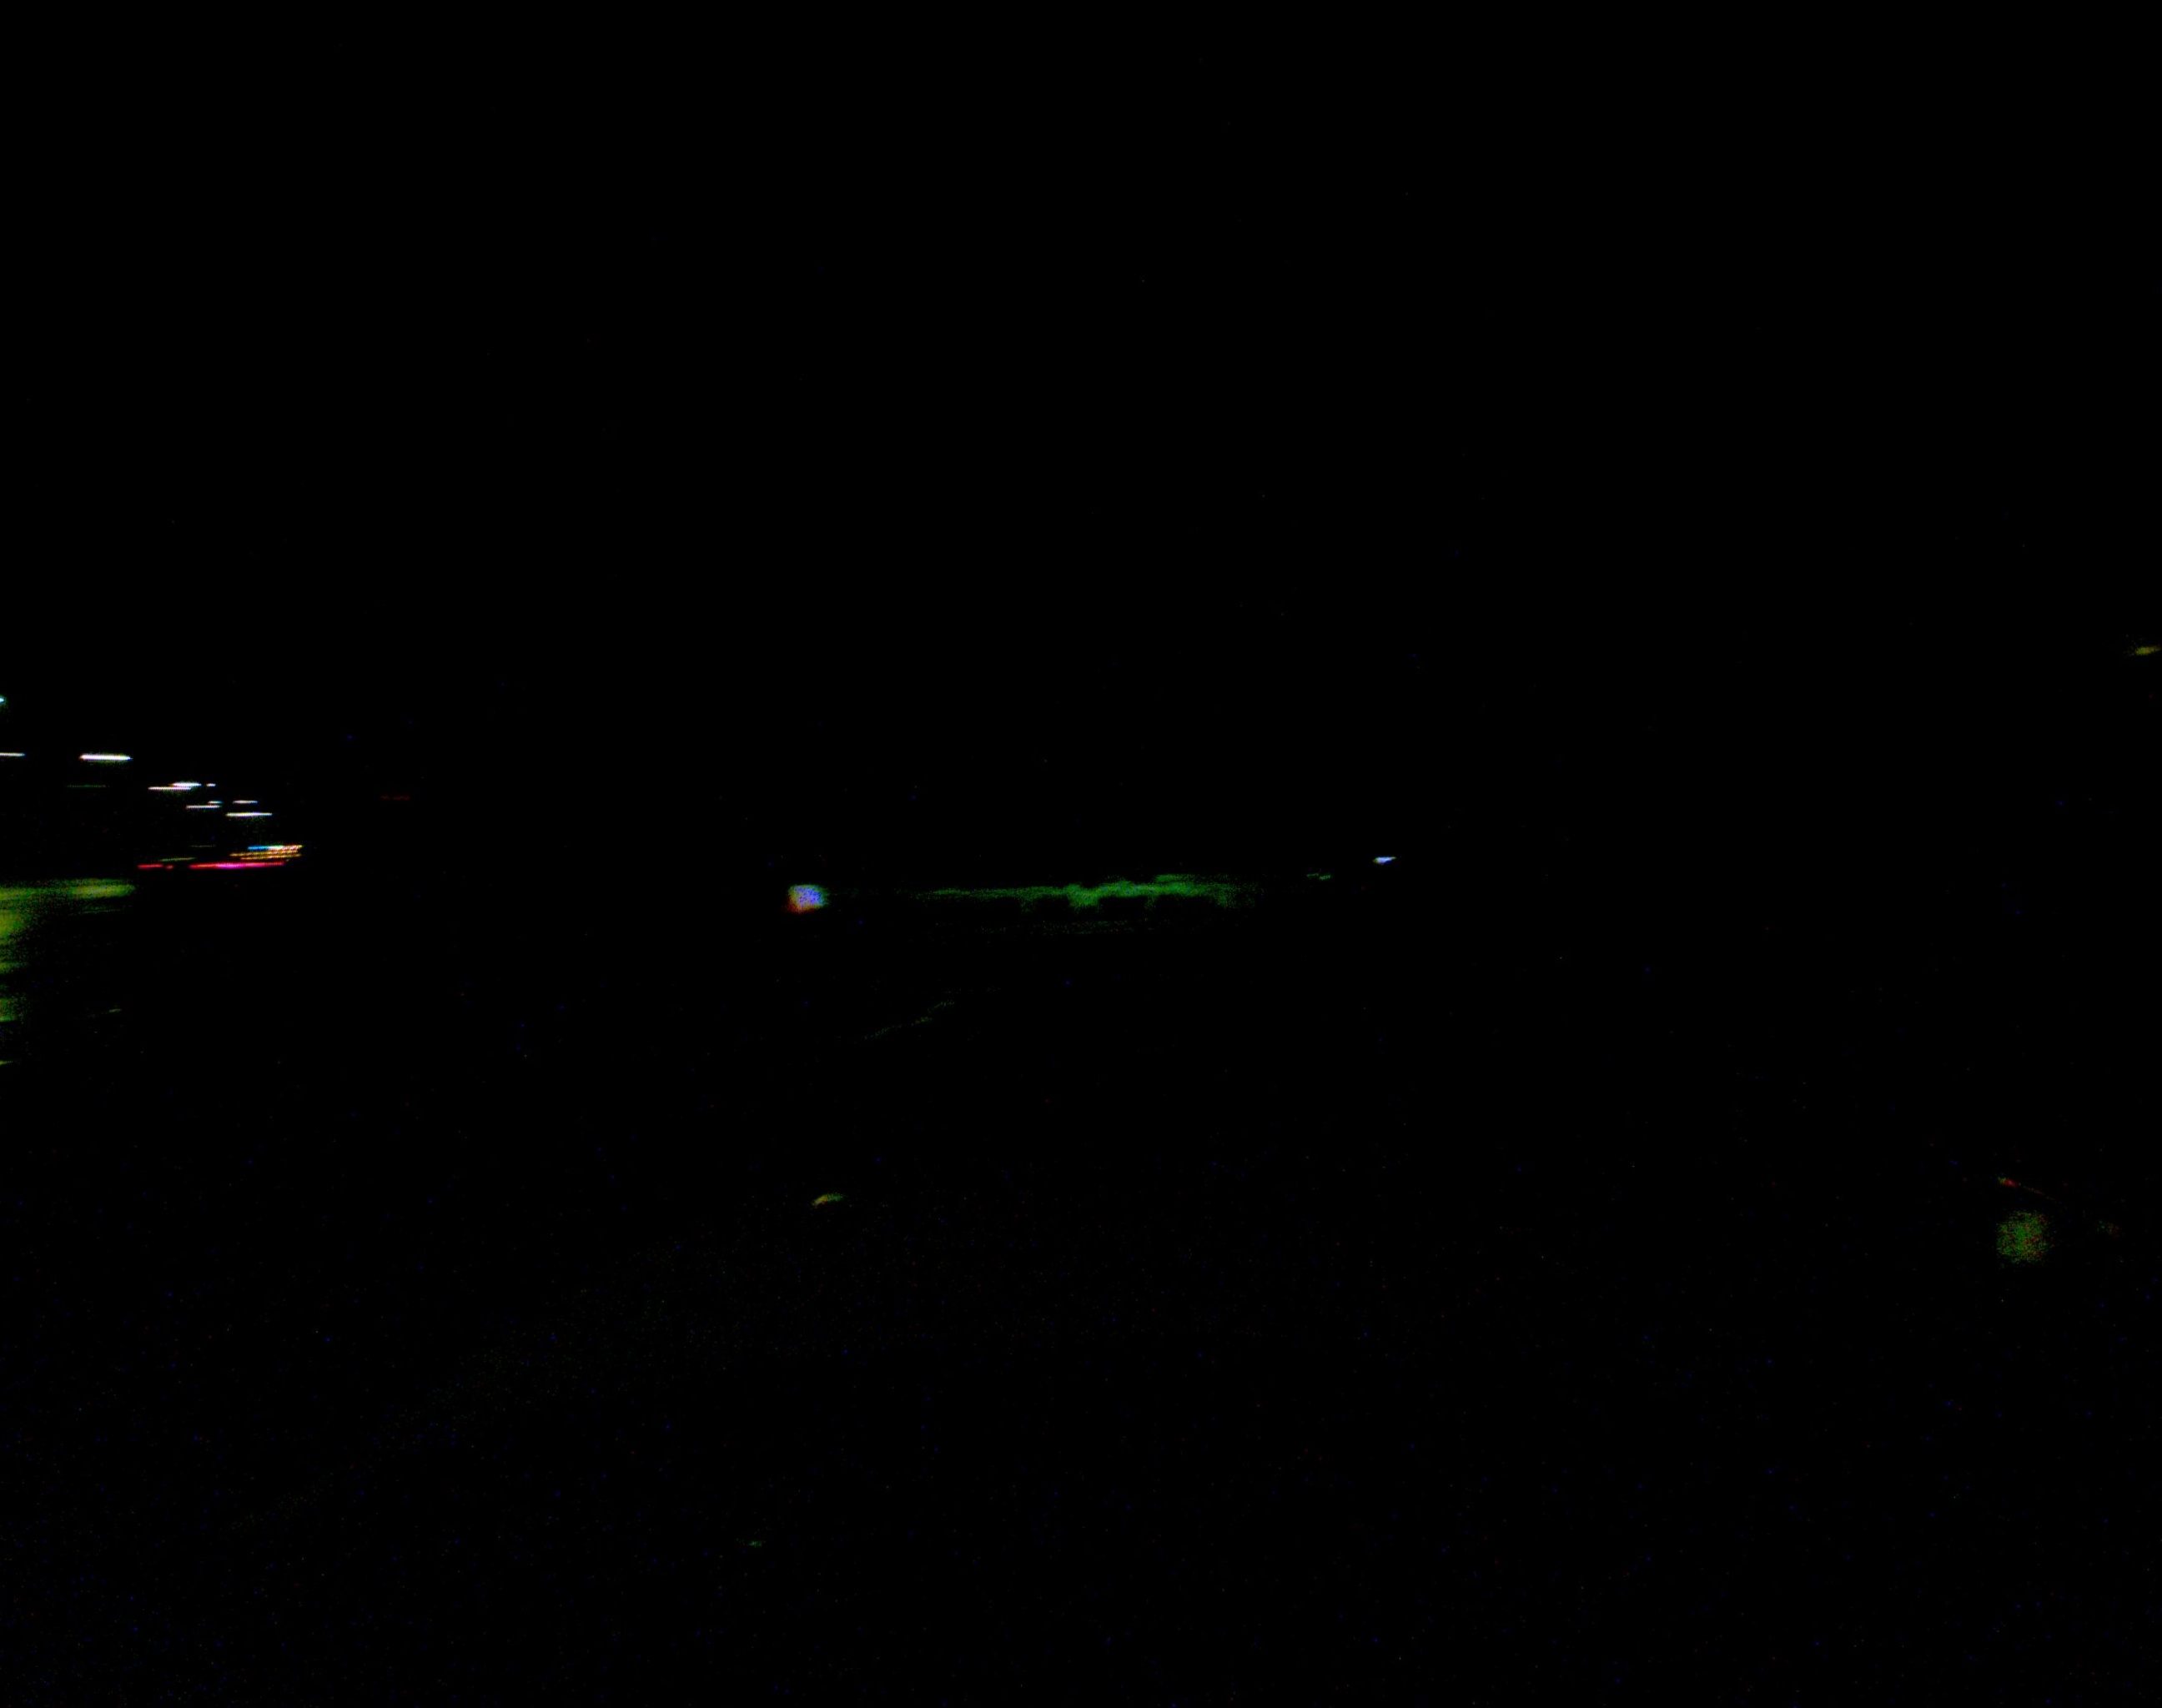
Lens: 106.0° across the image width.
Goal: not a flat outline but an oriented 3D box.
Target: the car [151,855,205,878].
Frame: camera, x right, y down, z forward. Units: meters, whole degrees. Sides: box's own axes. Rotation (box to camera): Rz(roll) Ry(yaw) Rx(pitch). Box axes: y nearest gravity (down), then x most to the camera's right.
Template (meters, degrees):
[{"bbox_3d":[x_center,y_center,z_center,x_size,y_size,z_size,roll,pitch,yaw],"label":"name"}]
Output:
[{"bbox_3d":[-69.525,0.990,62.772,2.195,1.602,3.952,5,-5,-41],"label":"car"}]

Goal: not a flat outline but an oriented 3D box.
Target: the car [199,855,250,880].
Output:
[{"bbox_3d":[-63.257,1.041,60.189,1.925,1.602,3.954,5,-5,-38],"label":"car"}]
